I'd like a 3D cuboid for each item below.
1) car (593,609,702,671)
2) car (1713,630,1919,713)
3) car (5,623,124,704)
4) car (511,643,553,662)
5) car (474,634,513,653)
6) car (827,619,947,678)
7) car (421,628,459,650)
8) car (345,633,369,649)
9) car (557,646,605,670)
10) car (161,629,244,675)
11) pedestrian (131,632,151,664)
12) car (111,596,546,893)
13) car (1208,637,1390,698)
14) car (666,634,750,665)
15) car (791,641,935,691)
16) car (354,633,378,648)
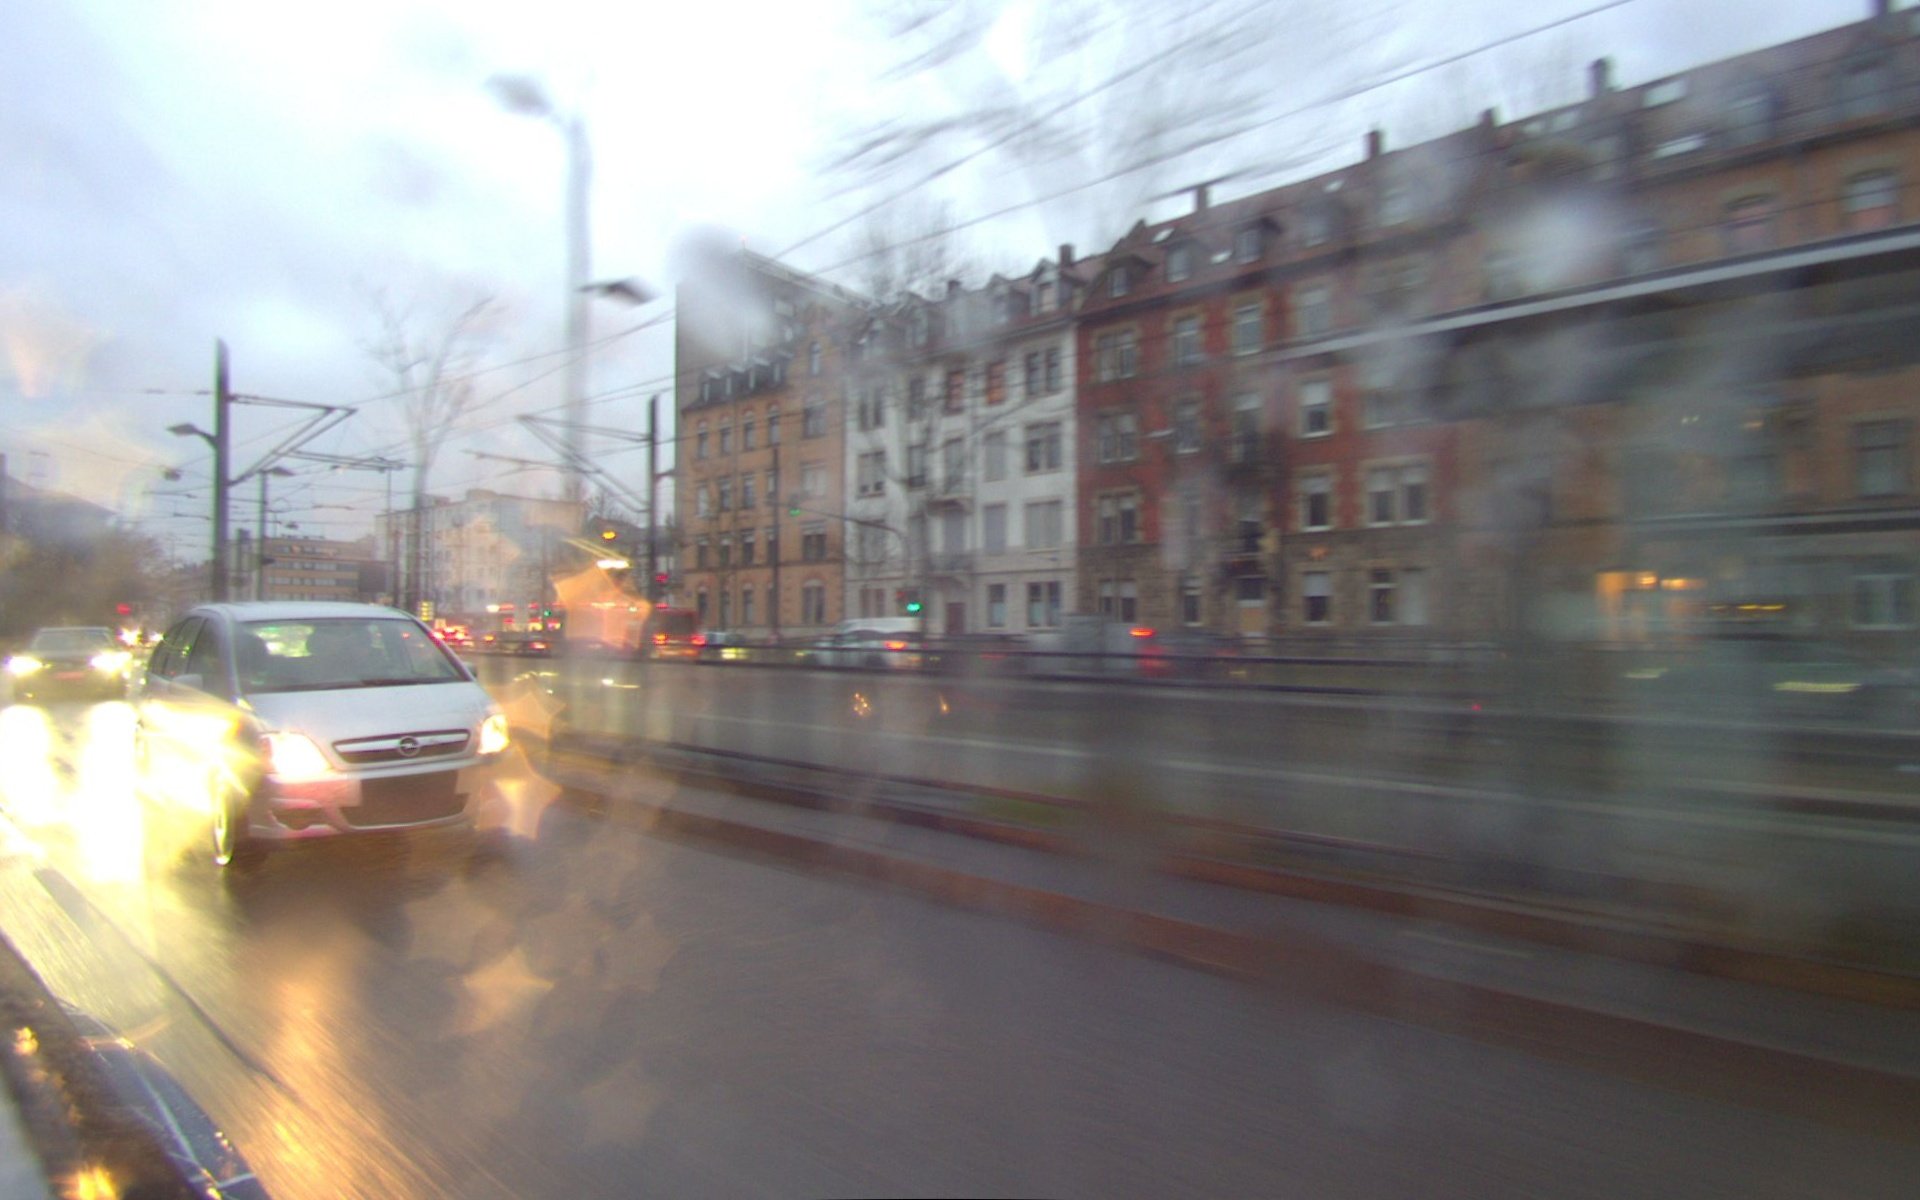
[{"bbox_3d":[-12.628,1.601,40.696,1.970,2.327,5.269,2,-4,-44],"label":"car"},{"bbox_3d":[16.252,1.262,18.367,3.998,1.407,1.642,-2,-3,41],"label":"car"},{"bbox_3d":[-19.117,1.318,21.673,1.727,1.556,4.006,3,-4,-41],"label":"car"},{"bbox_3d":[-26.857,3.275,63.457,1.578,1.143,3.798,1,-2,-36],"label":"car"},{"bbox_3d":[-34.367,3.196,74.498,1.658,1.364,4.397,1,-3,-37],"label":"car"},{"bbox_3d":[-2.581,1.675,35.324,3.941,1.955,1.973,-2,-3,41],"label":"car"},{"bbox_3d":[-36.924,2.761,71.794,1.658,1.565,4.130,1,-3,-37],"label":"car"},{"bbox_3d":[-65.659,4.484,110.183,1.967,1.657,4.010,2,-3,-35],"label":"car"},{"bbox_3d":[-20.472,3.095,54.614,1.516,1.236,4.097,2,-3,-34],"label":"car"},{"bbox_3d":[-30.723,2.098,41.170,1.789,1.756,4.200,1,-3,-24],"label":"car"},{"bbox_3d":[-50.047,2.936,61.881,0.564,1.852,0.685,7,-6,-22],"label":"pedestrian"},{"bbox_3d":[-4.736,0.825,7.334,4.109,1.560,1.627,-2,-2,42],"label":"car"},{"bbox_3d":[8.543,1.668,25.651,3.998,1.409,1.792,-2,-3,41],"label":"car"},{"bbox_3d":[-10.701,2.071,42.800,4.088,1.236,1.519,-2,-3,44],"label":"car"},{"bbox_3d":[-2.689,1.762,27.622,4.084,1.255,1.521,-2,-3,41],"label":"car"},{"bbox_3d":[-68.250,4.613,116.251,1.967,1.657,4.010,2,-3,-35],"label":"car"}]
